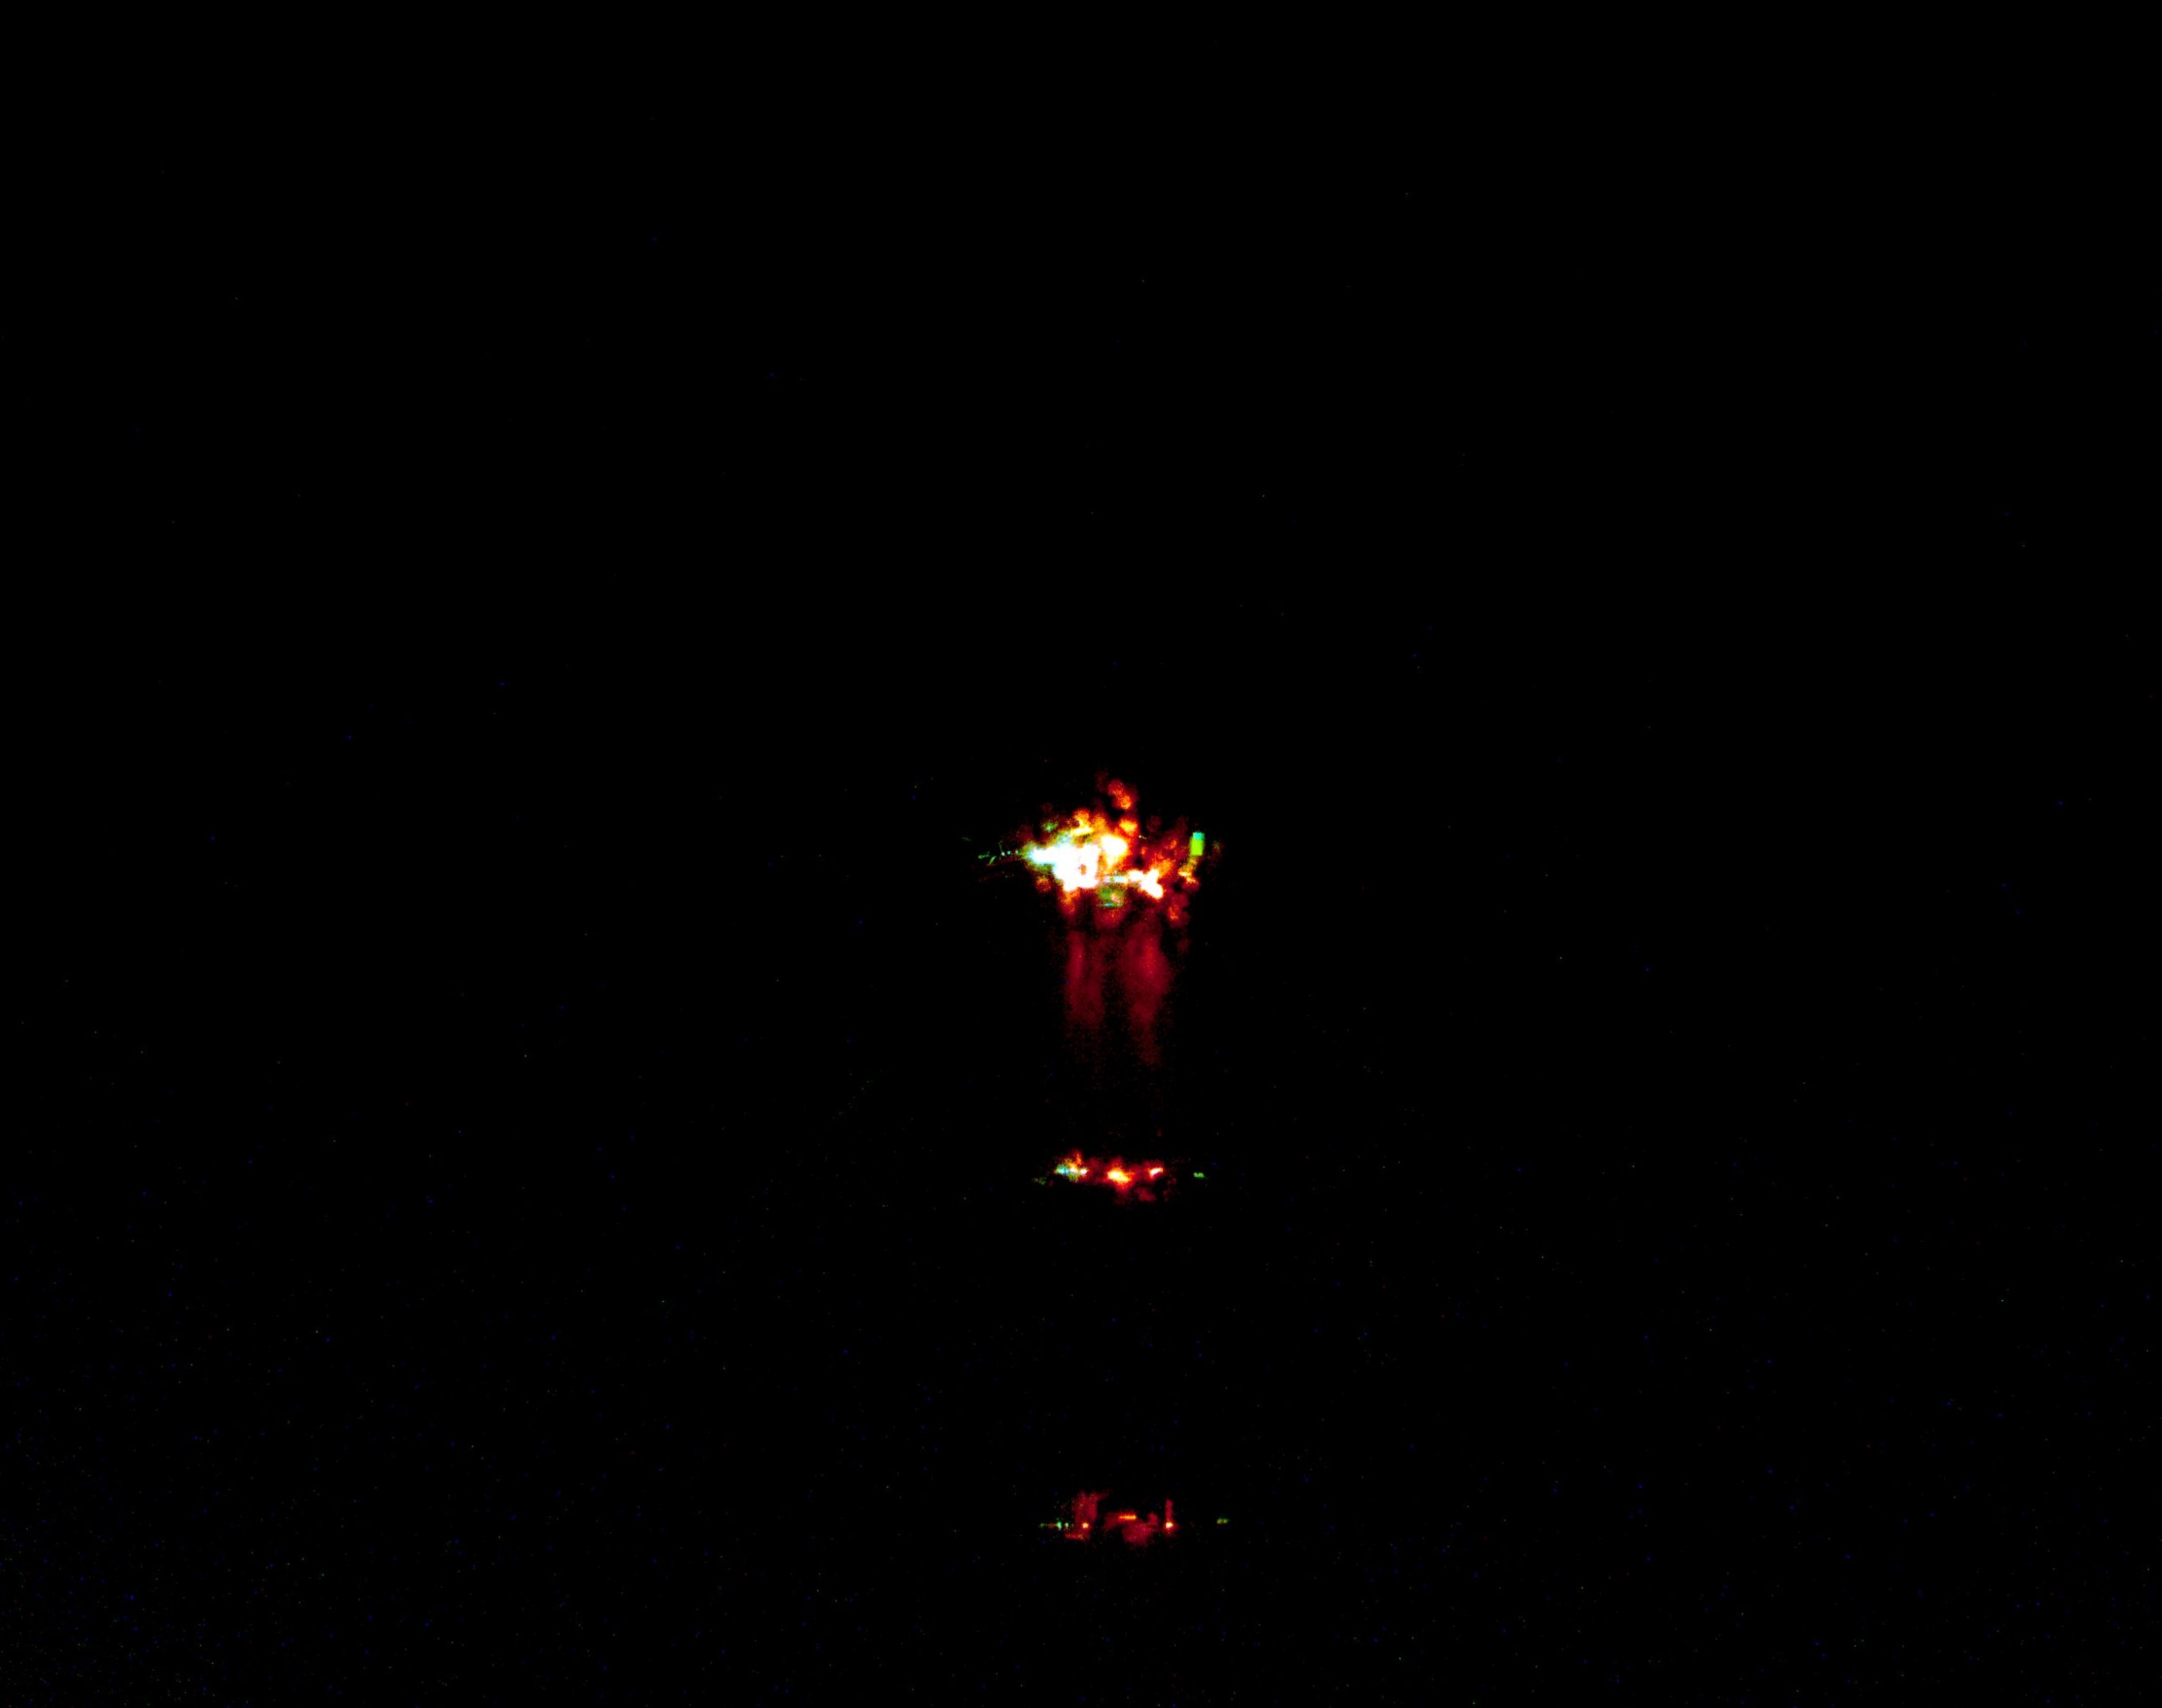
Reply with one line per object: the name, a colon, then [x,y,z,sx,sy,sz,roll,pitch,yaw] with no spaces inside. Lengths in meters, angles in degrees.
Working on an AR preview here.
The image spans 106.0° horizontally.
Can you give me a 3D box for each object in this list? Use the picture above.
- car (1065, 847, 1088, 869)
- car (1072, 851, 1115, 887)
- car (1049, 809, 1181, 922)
car: [-0.389,0.349,74.953,1.987,1.915,4.000,1,0,1]
car: [0.578,0.696,40.708,1.874,1.580,4.782,4,0,-1]
car: [0.776,0.206,19.845,2.706,2.307,6.102,0,0,1]
